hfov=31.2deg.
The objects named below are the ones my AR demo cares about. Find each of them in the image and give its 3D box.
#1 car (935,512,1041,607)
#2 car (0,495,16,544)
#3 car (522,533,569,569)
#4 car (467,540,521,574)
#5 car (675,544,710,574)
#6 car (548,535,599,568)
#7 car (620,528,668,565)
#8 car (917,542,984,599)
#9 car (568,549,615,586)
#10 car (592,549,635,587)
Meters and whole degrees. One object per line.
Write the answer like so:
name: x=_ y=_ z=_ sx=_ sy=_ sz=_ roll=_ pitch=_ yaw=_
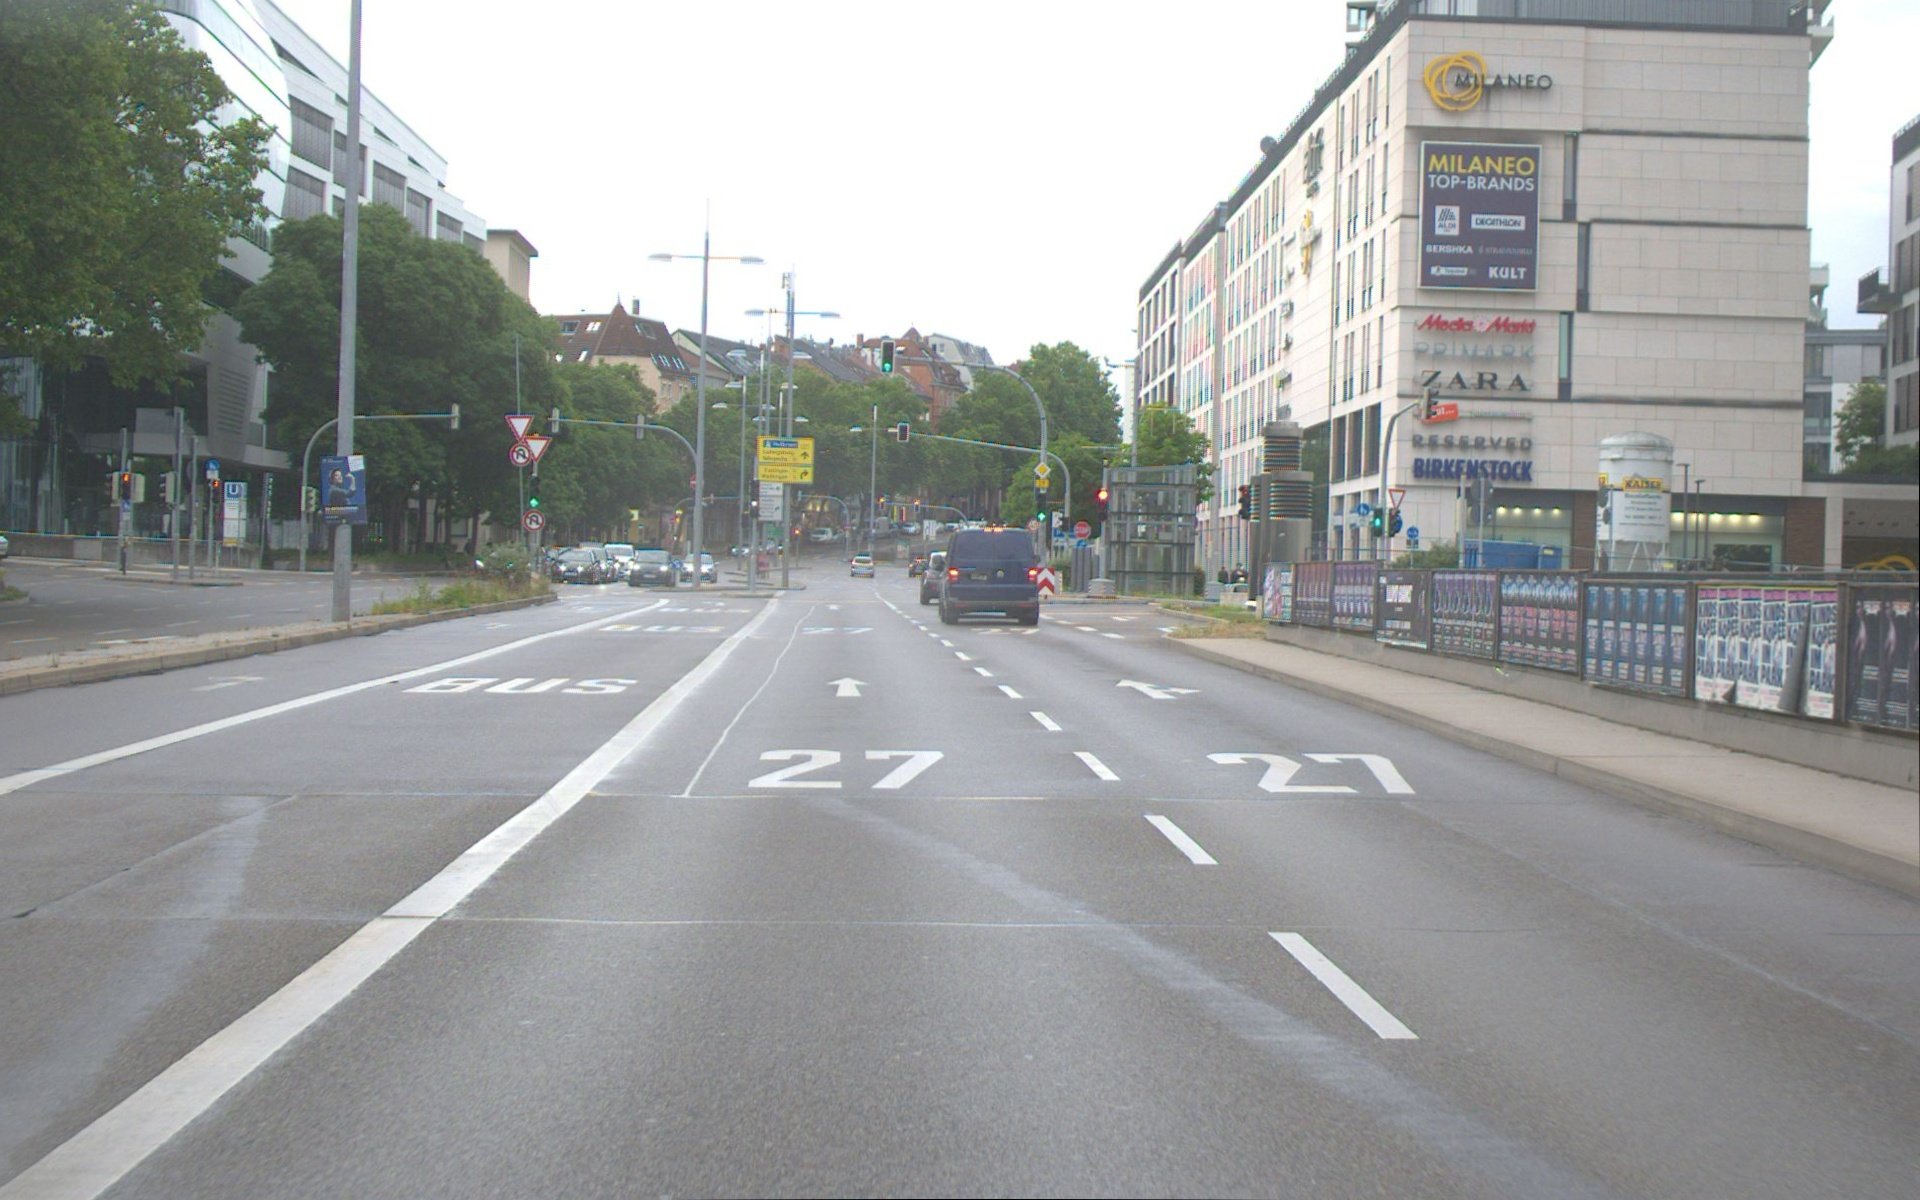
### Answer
car: x=0.533 y=-0.873 z=70.912 sx=2.033 sy=1.875 sz=5.042 roll=0 pitch=2 yaw=-1
car: x=-33.879 y=-2.699 z=114.261 sx=4.504 sy=1.625 sz=1.893 roll=1 pitch=0 yaw=15
car: x=-18.710 y=-2.209 z=155.336 sx=1.743 sy=1.553 sz=3.540 roll=1 pitch=0 yaw=-2
car: x=-19.228 y=-1.775 z=141.942 sx=1.743 sy=1.324 sz=4.226 roll=1 pitch=0 yaw=-2
car: x=-13.397 y=-2.046 z=172.319 sx=1.538 sy=1.472 sz=3.696 roll=1 pitch=0 yaw=-2
car: x=-15.995 y=-2.016 z=142.416 sx=1.743 sy=1.253 sz=3.540 roll=2 pitch=1 yaw=-2
car: x=-12.979 y=-2.189 z=141.266 sx=1.743 sy=1.439 sz=3.395 roll=1 pitch=0 yaw=-2
car: x=-0.285 y=-0.811 z=95.278 sx=1.740 sy=1.526 sz=3.814 roll=1 pitch=0 yaw=-2
car: x=-16.014 y=-1.413 z=149.391 sx=1.743 sy=1.553 sz=3.540 roll=1 pitch=0 yaw=-2
car: x=-16.472 y=-1.496 z=163.366 sx=1.743 sy=1.742 sz=3.540 roll=1 pitch=0 yaw=-2
